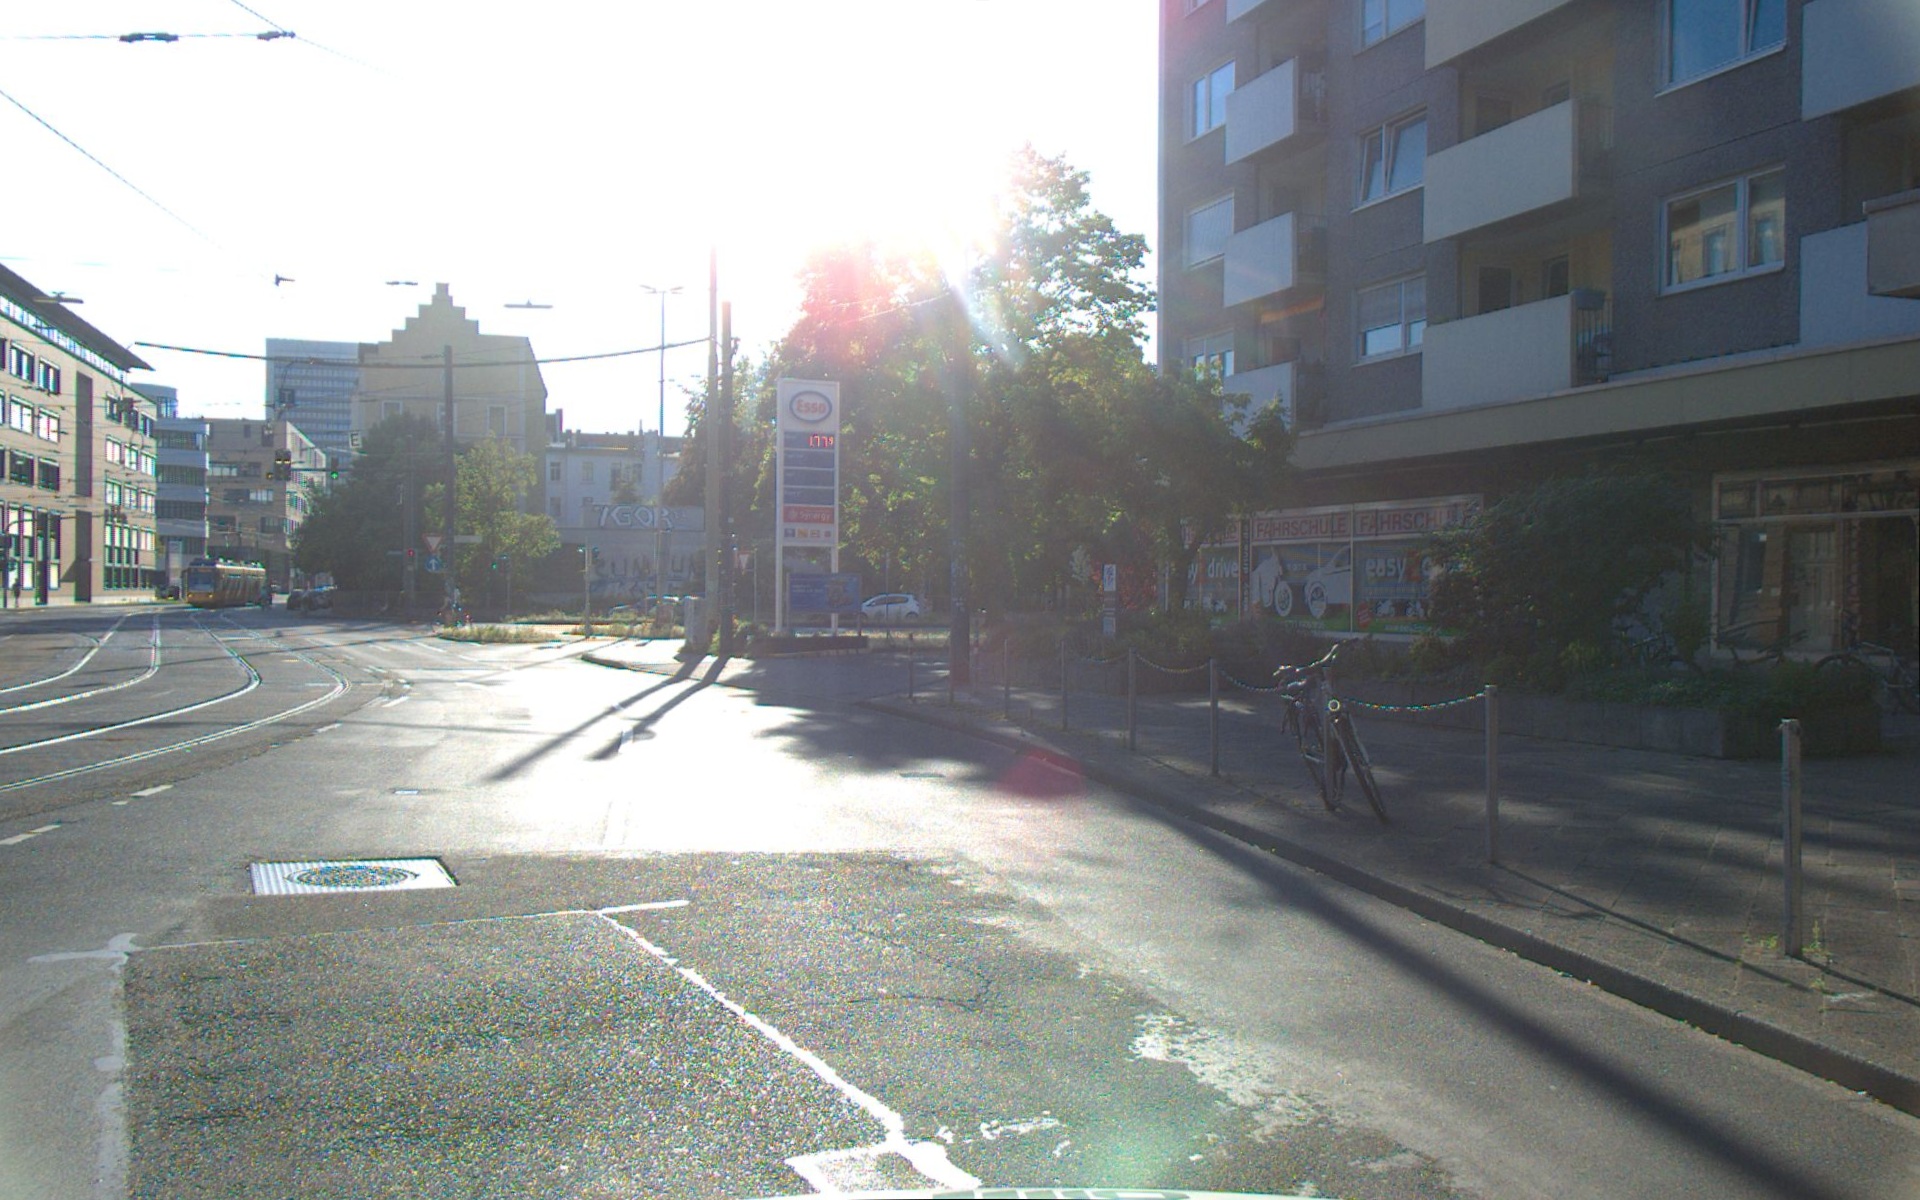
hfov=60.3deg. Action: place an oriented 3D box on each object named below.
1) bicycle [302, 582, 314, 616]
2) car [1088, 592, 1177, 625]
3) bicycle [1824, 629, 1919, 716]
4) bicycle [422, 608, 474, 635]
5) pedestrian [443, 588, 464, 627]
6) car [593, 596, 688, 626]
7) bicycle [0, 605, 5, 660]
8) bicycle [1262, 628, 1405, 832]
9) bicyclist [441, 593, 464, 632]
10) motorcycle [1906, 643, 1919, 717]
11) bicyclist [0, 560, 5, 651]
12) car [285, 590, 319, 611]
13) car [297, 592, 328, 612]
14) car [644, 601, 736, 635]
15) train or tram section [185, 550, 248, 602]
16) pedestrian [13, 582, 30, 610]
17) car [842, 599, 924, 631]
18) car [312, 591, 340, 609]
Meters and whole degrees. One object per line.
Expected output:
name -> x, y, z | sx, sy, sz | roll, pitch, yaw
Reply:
bicycle -> -34.836, -0.058, 88.418 | 0.558, 1.838, 1.349 | 0, 0, -23
car -> 8.050, 0.393, 77.353 | 3.910, 1.478, 1.685 | 0, 0, -6
bicycle -> 10.789, 0.827, 19.283 | 0.425, 0.959, 1.316 | 0, 0, -21
bicycle -> -19.051, 0.806, 61.591 | 1.806, 1.002, 0.729 | 0, 0, -21
pedestrian -> -22.548, 0.335, 73.622 | 0.912, 1.722, 0.774 | 1, 0, -18
car -> -16.064, 0.540, 83.311 | 4.383, 1.513, 1.781 | 0, 0, 1
bicycle -> -21.000, 0.692, 35.316 | 0.871, 1.176, 2.305 | 1, 0, -26
bicycle -> 2.542, 0.836, 11.463 | 0.625, 1.247, 2.089 | 0, 0, 3
bicyclist -> -18.939, 0.459, 61.685 | 0.792, 1.438, 0.620 | 0, -1, -21
motorcycle -> 10.939, 0.888, 17.800 | 0.425, 0.808, 1.358 | 0, 0, -21
bicyclist -> -21.065, 0.118, 35.375 | 1.017, 1.924, 1.103 | 1, -1, -27
car -> -47.195, 0.064, 118.621 | 1.962, 1.489, 3.980 | 0, 0, -18
car -> -50.231, 0.159, 128.334 | 1.962, 1.512, 3.980 | 0, 0, -18
car -> -12.277, 0.821, 75.410 | 3.907, 1.478, 1.808 | 0, 0, -3
train or tram section -> -55.467, -1.667, 123.714 | 2.205, 3.637, 14.213 | 0, 0, -16
pedestrian -> -61.360, -0.262, 108.130 | 0.792, 1.874, 0.733 | 0, 0, -16
car -> -3.754, 0.729, 80.103 | 3.908, 1.534, 1.671 | 0, 0, -4
car -> -54.724, 0.018, 142.798 | 1.962, 1.512, 3.980 | 0, 0, -18
